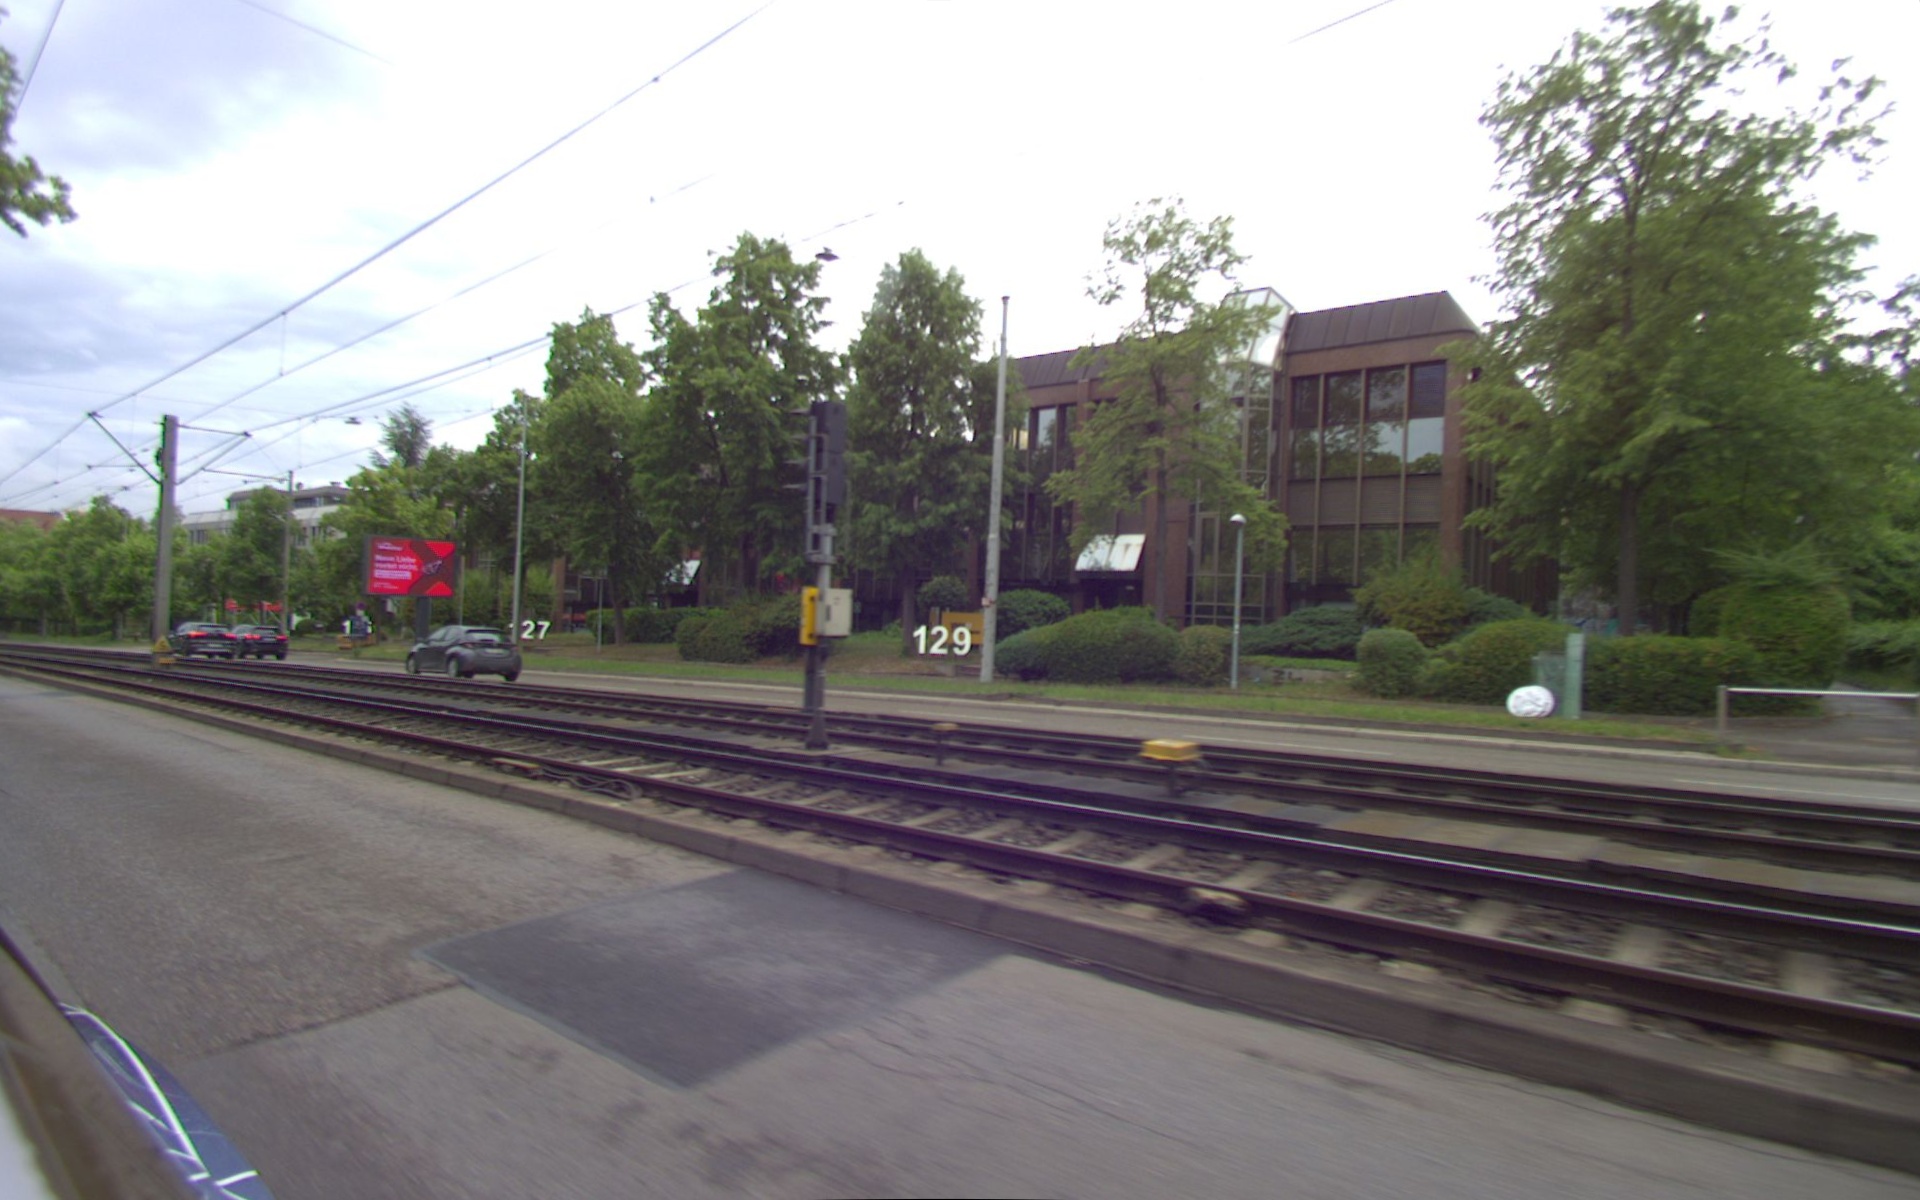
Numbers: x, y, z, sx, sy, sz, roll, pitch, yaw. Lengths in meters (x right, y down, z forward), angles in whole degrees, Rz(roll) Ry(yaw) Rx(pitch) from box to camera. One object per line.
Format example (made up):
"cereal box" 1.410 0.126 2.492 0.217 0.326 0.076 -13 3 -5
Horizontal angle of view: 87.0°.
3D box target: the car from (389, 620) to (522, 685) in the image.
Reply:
"car" -14.031 1.400 28.041 4.337 1.650 1.670 -1 -3 40

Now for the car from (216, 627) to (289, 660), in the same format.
"car" -33.872 2.058 48.412 4.337 1.523 1.747 -1 -3 40

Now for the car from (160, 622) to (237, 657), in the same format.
"car" -32.733 1.686 43.476 4.337 1.404 1.670 -1 -3 40
